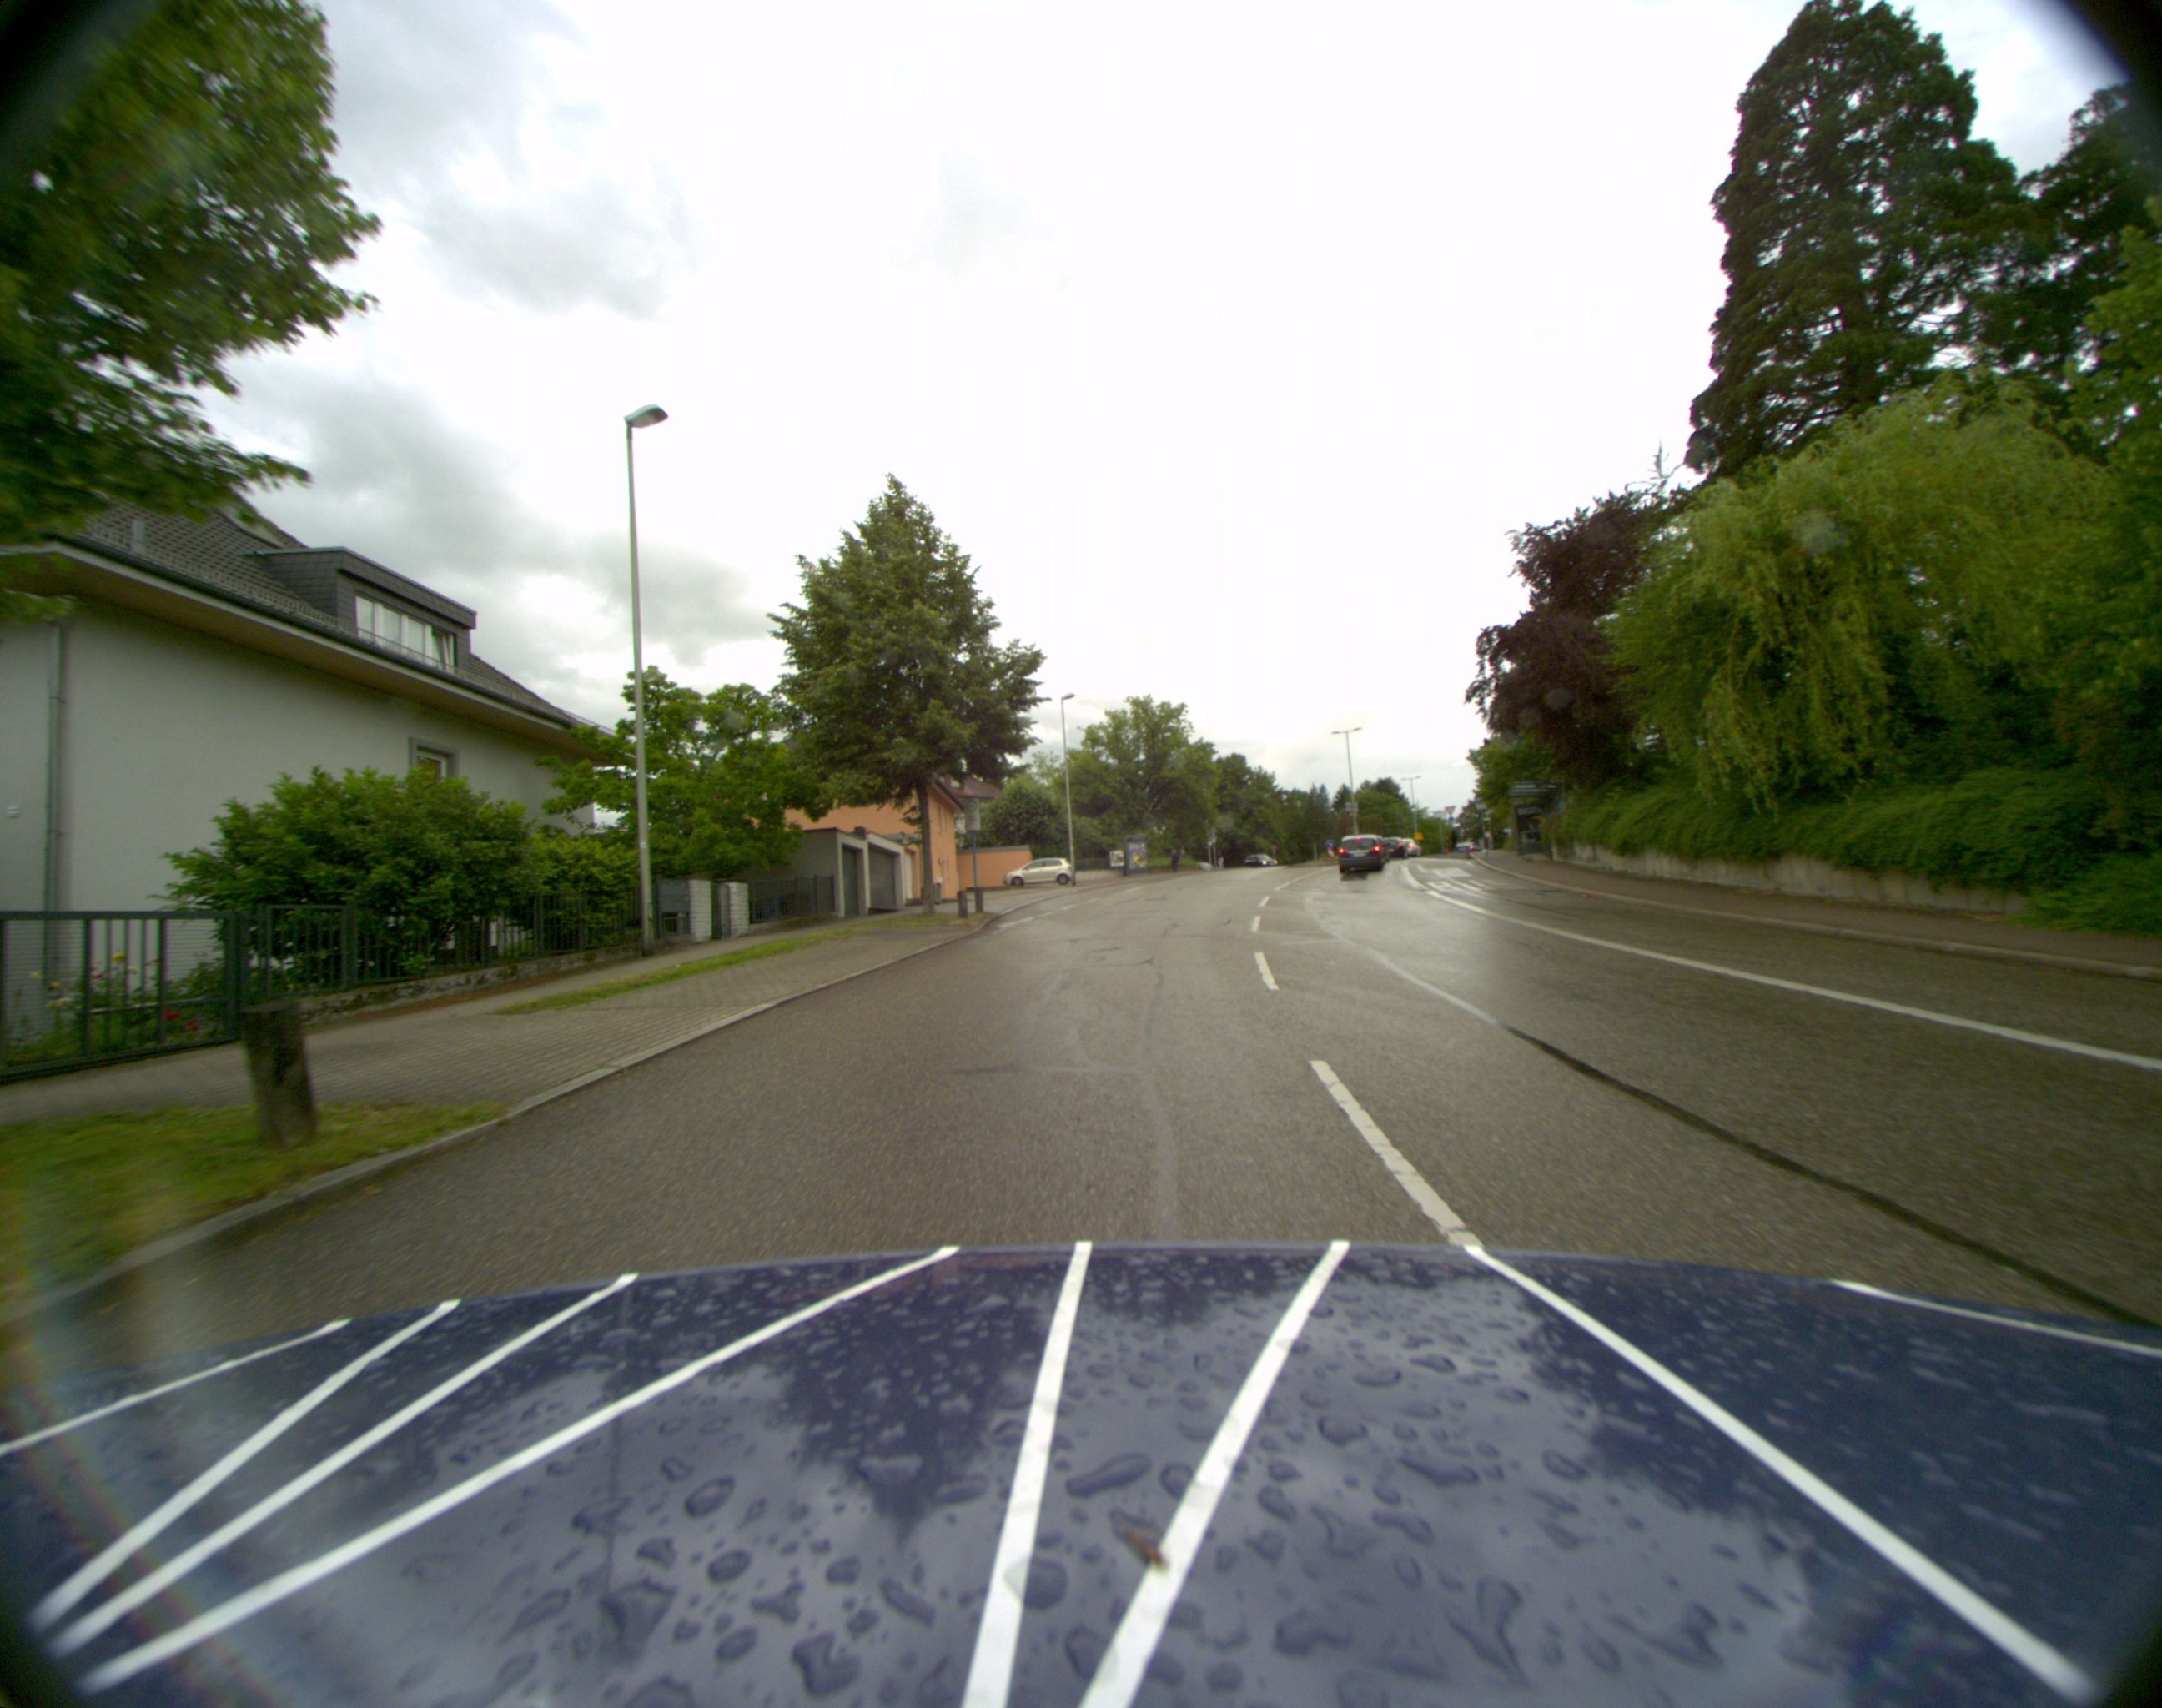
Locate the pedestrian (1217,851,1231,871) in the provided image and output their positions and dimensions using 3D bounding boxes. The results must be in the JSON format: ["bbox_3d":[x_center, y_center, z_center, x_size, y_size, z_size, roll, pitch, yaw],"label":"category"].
[{"bbox_3d":[12.336,0.604,65.584,0.820,1.645,0.724,-3,-1,-31],"label":"pedestrian"}]

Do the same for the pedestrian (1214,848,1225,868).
[{"bbox_3d":[11.774,0.334,64.592,0.724,1.722,0.820,-4,-1,21],"label":"pedestrian"}]

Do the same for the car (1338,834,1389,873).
[{"bbox_3d":[13.109,-0.084,35.057,1.812,1.567,4.693,-4,0,24],"label":"car"}]

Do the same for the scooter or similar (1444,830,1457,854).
[{"bbox_3d":[24.686,-0.798,50.765,0.509,1.507,1.321,-4,-1,36],"label":"scooter or similar"}]

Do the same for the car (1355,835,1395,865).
[{"bbox_3d":[16.427,-0.209,42.334,1.723,1.455,4.384,-4,-1,25],"label":"car"}]

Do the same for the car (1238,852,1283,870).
[{"bbox_3d":[17.094,0.709,72.482,1.865,1.406,4.379,-3,-3,-24],"label":"car"}]

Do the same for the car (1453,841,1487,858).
[{"bbox_3d":[36.172,-0.416,70.624,1.759,1.428,4.681,-6,-3,39],"label":"car"}]

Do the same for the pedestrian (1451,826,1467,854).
[{"bbox_3d":[25.110,-0.947,50.475,0.703,1.796,0.827,-4,-1,36],"label":"pedestrian"}]

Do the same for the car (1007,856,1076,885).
[{"bbox_3d":[-2.255,0.956,43.952,3.867,1.556,1.727,-2,-1,0],"label":"car"}]

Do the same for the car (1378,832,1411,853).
[{"bbox_3d":[24.223,-0.903,58.599,1.830,1.393,4.829,-4,-1,29],"label":"car"}]

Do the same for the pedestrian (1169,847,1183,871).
[{"bbox_3d":[7.045,0.377,56.230,0.927,1.645,1.099,-3,-1,10],"label":"pedestrian"}]
